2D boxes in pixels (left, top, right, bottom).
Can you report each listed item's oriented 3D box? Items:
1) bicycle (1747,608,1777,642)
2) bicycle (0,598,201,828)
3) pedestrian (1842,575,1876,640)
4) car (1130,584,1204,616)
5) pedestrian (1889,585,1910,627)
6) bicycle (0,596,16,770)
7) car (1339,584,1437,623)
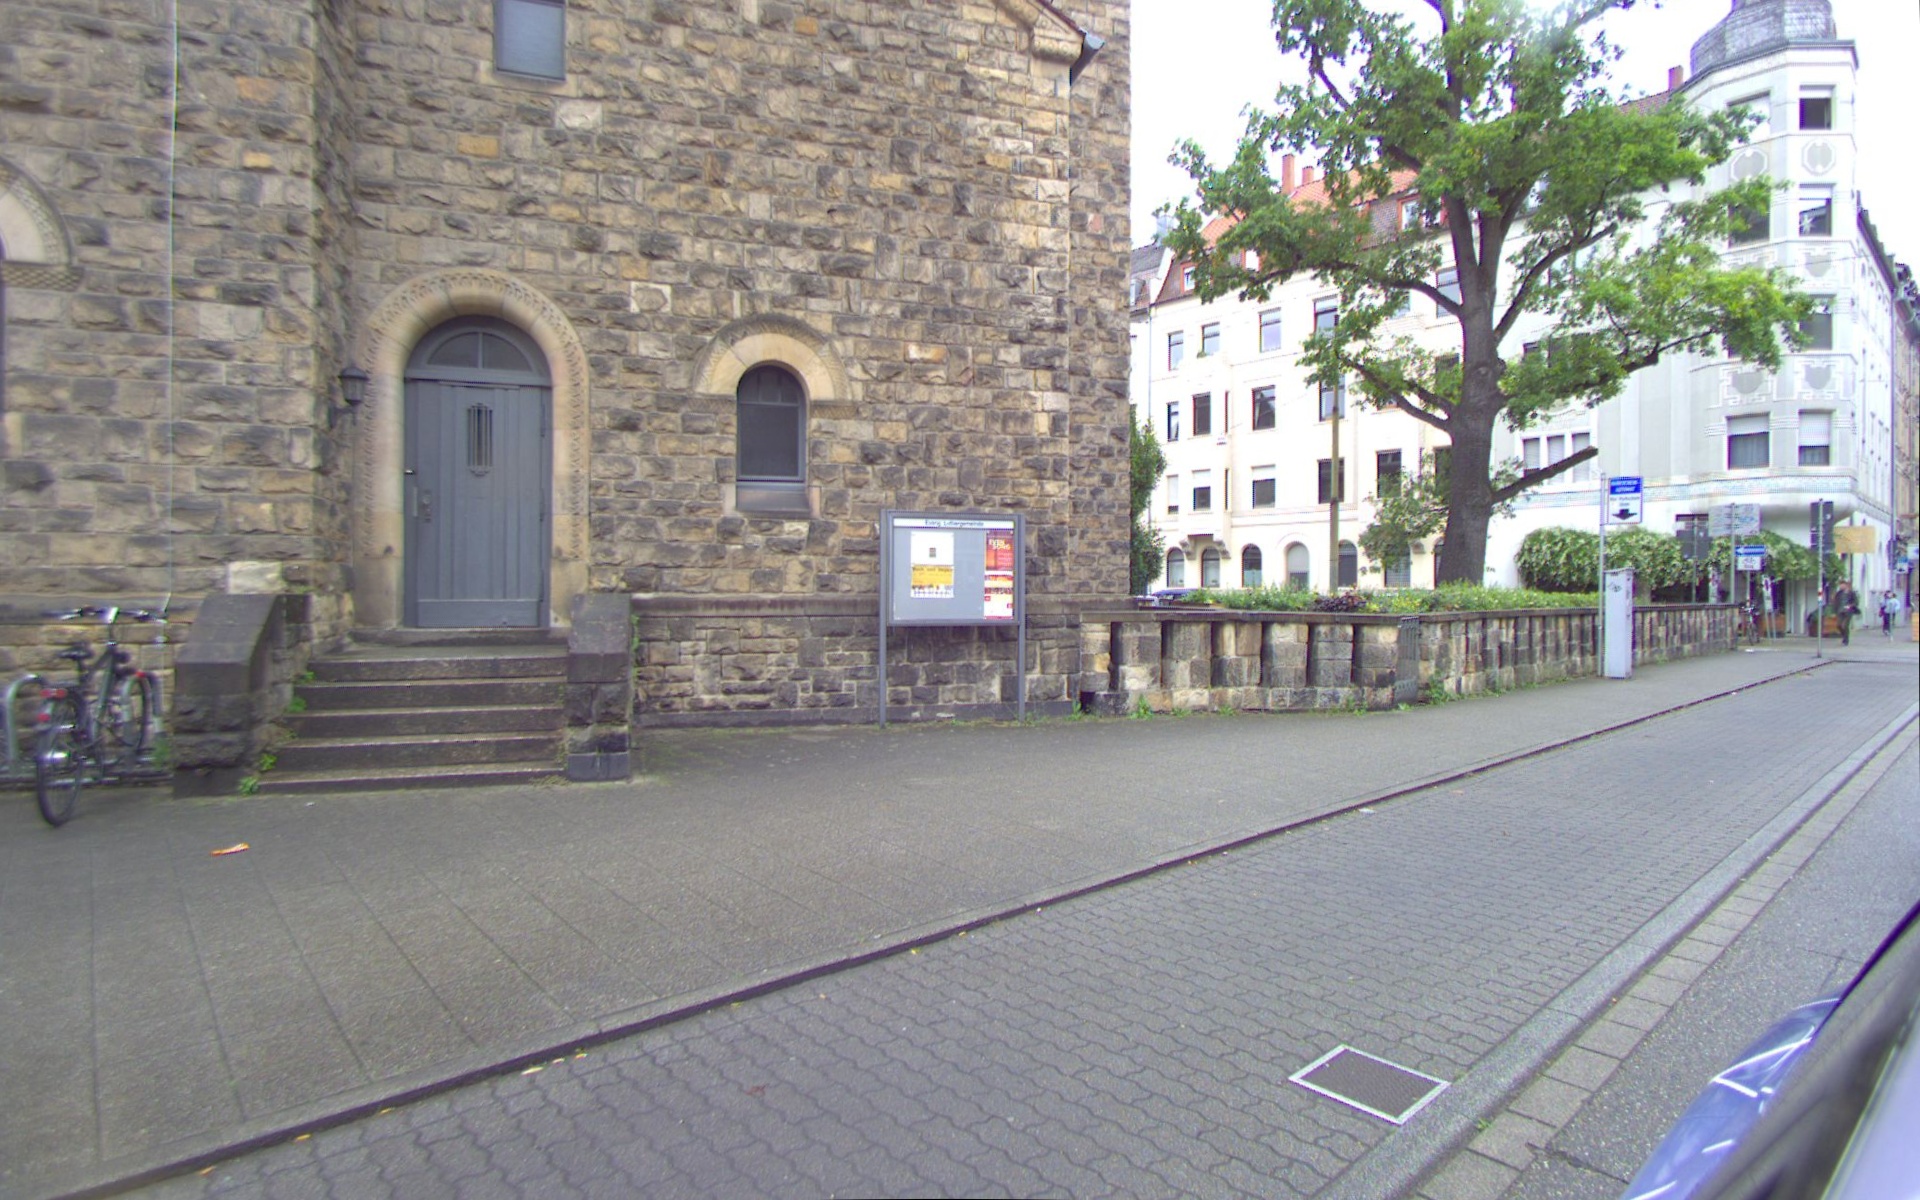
[{"bbox_3d":[24.491,0.759,30.883,1.990,0.904,0.390,-3,3,-42],"label":"bicycle"},{"bbox_3d":[-5.097,0.570,6.077,0.502,1.067,1.994,0,3,-27],"label":"bicycle"},{"bbox_3d":[26.724,0.215,30.093,0.681,1.896,0.645,0,1,-42],"label":"pedestrian"},{"bbox_3d":[9.730,-0.023,47.631,1.421,1.427,3.271,0,1,-38],"label":"car"},{"bbox_3d":[33.371,0.218,35.935,0.385,1.479,0.481,0,1,-42],"label":"pedestrian"},{"bbox_3d":[-6.271,0.581,5.970,0.550,1.125,1.717,0,3,-27],"label":"bicycle"},{"bbox_3d":[16.913,0.121,40.065,1.421,1.427,3.271,0,1,-38],"label":"car"}]
